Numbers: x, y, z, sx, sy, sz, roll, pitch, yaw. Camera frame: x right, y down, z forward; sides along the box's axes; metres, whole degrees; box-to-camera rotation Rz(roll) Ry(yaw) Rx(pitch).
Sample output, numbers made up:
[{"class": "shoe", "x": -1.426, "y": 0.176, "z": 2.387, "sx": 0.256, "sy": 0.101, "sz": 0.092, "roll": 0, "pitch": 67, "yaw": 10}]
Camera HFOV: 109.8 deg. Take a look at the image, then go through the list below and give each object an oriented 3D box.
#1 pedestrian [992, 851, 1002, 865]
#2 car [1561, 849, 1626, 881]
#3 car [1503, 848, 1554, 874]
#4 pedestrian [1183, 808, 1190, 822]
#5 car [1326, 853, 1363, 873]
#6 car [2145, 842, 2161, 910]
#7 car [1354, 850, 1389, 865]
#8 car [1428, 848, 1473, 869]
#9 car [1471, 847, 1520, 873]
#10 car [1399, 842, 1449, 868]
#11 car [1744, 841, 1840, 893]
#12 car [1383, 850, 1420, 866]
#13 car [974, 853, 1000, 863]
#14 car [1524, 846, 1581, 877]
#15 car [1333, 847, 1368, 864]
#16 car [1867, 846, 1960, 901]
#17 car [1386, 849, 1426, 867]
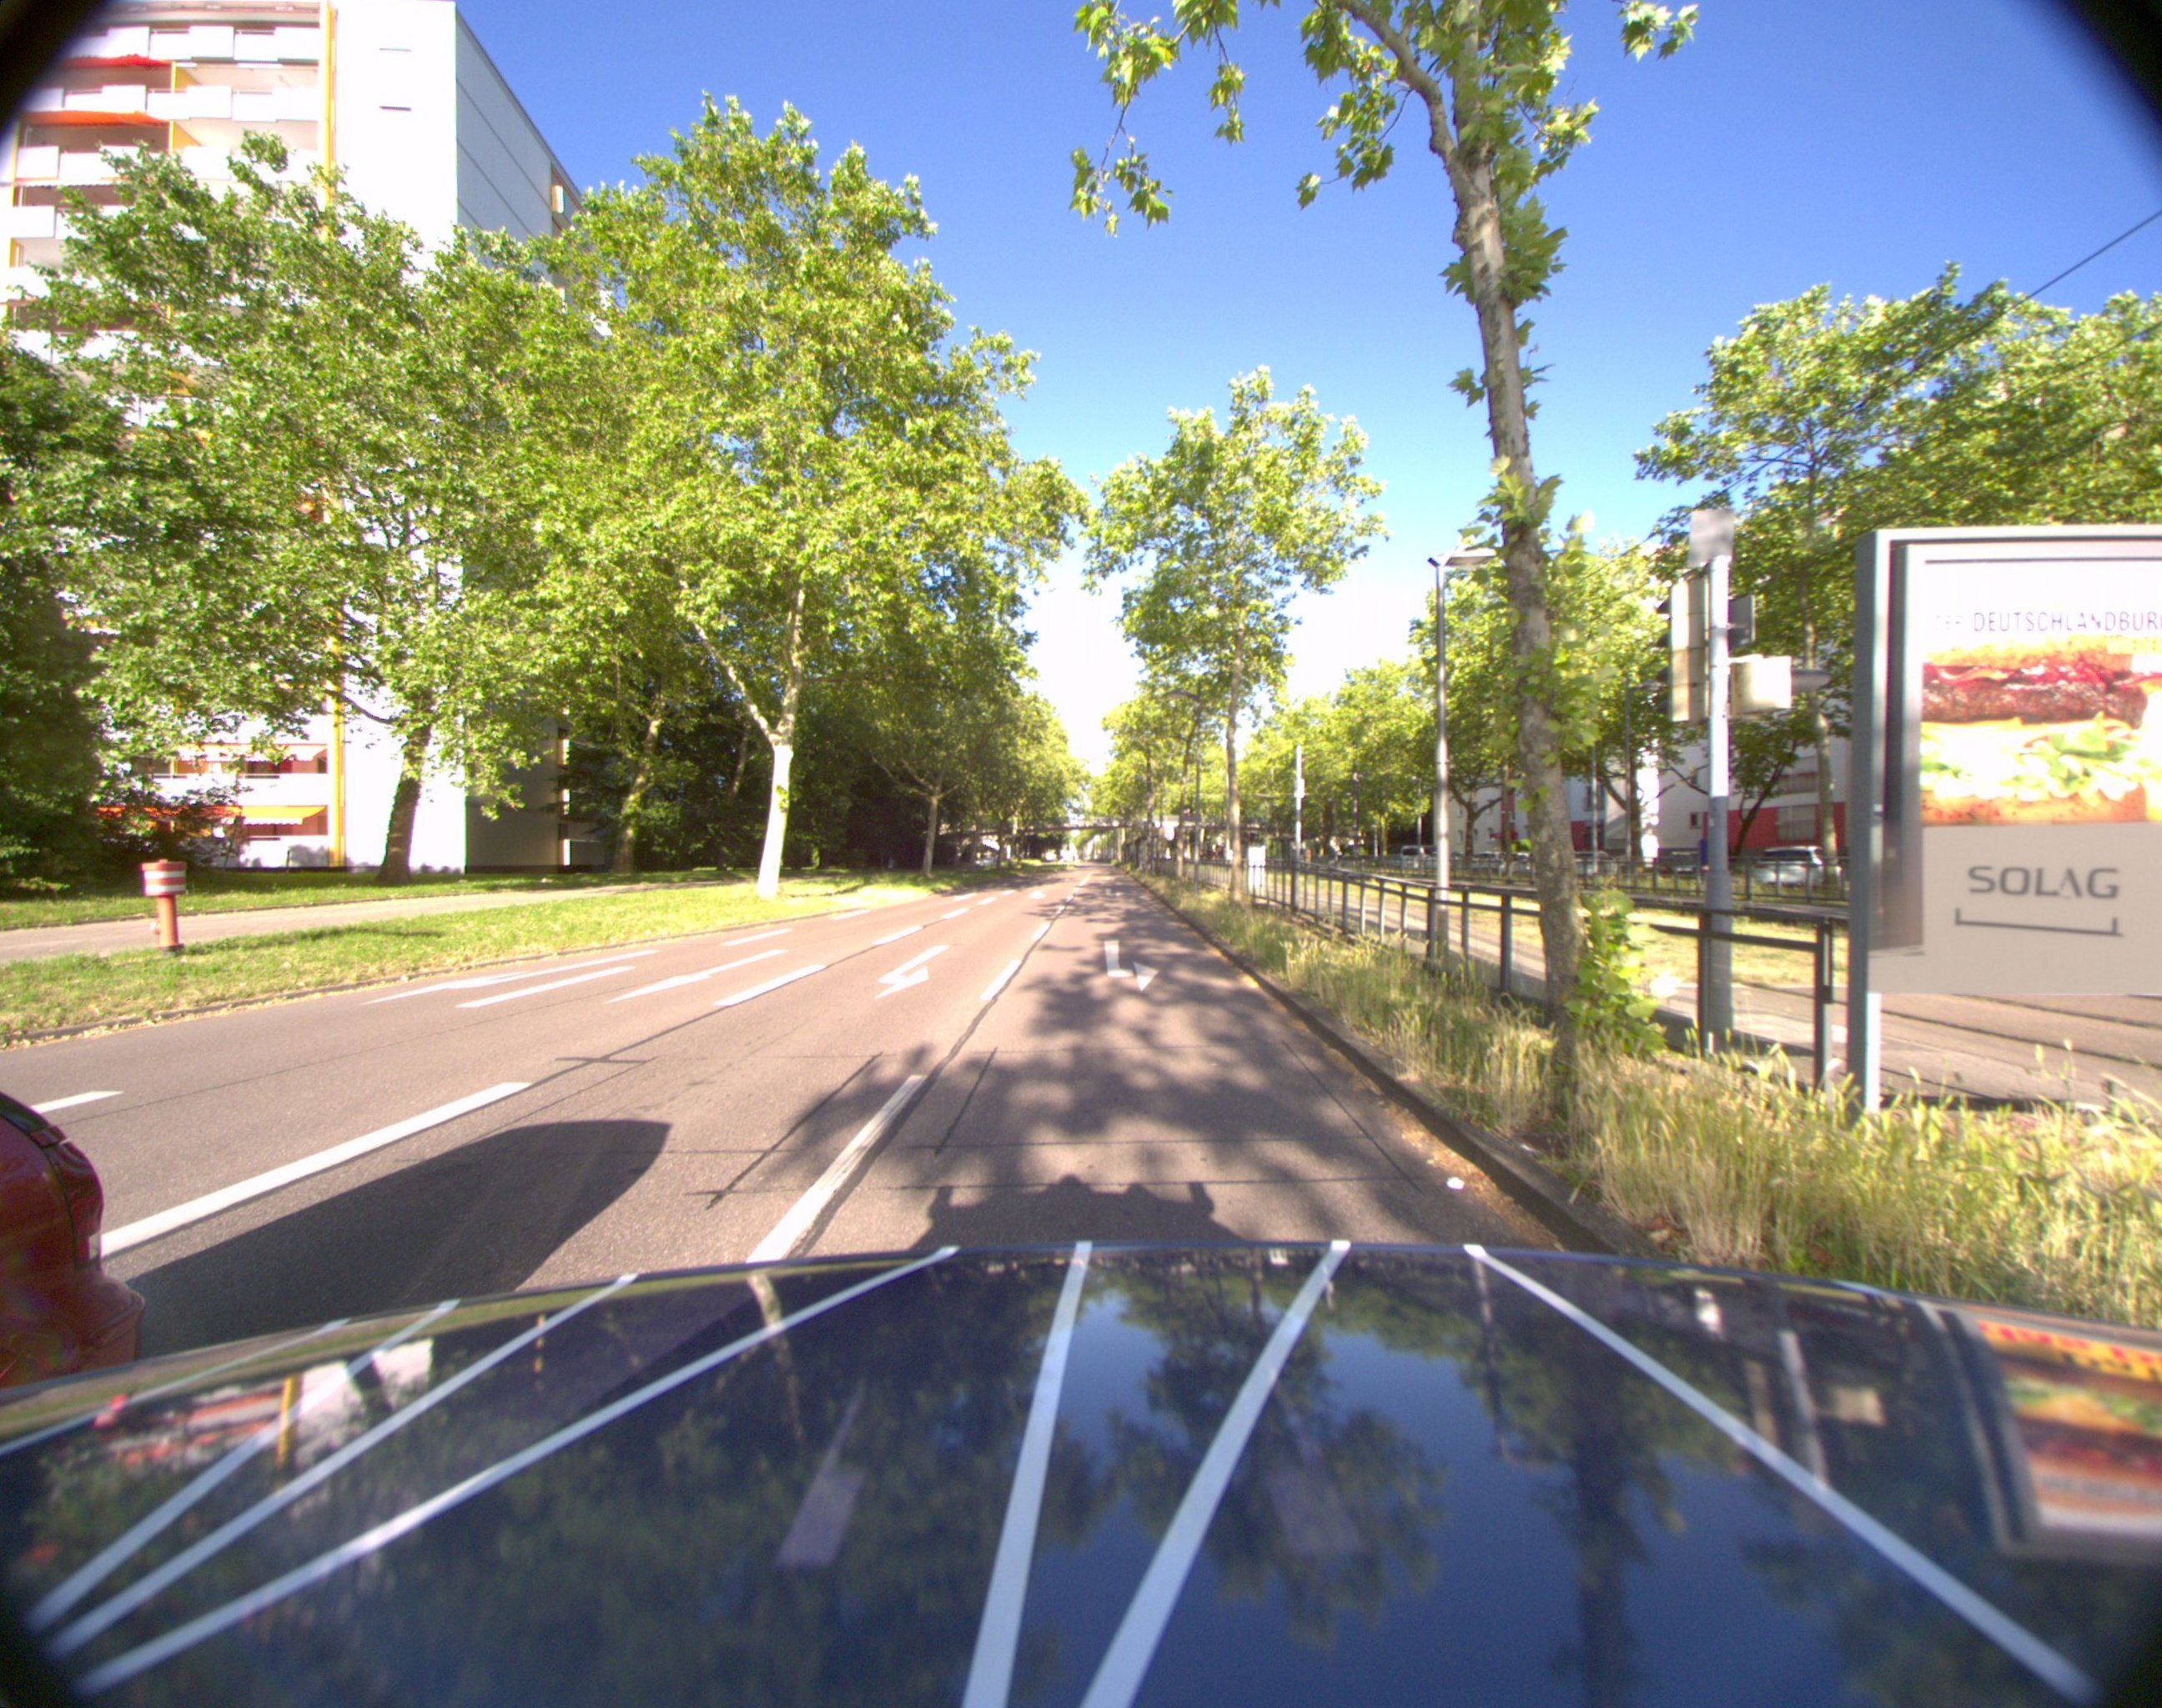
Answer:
[{"class": "pedestrian", "x": -12.275, "y": 0.585, "z": 111.134, "sx": 0.917, "sy": 2.002, "sz": 0.964, "roll": -2, "pitch": 1, "yaw": 37}, {"class": "car", "x": 25.516, "y": 0.527, "z": 37.760, "sx": 3.890, "sy": 1.406, "sz": 1.486, "roll": -3, "pitch": 1, "yaw": -37}, {"class": "car", "x": 26.252, "y": 0.394, "z": 44.563, "sx": 3.493, "sy": 1.321, "sz": 1.476, "roll": -3, "pitch": 0, "yaw": -41}, {"class": "pedestrian", "x": 14.098, "y": -5.192, "z": 101.706, "sx": 0.738, "sy": 1.873, "sz": 0.511, "roll": -3, "pitch": 1, "yaw": 0}, {"class": "car", "x": 21.217, "y": 0.679, "z": 61.362, "sx": 1.810, "sy": 1.514, "sz": 4.332, "roll": -1, "pitch": 0, "yaw": 5}, {"class": "car", "x": 24.557, "y": 0.519, "z": 16.152, "sx": 4.007, "sy": 1.479, "sz": 1.689, "roll": -3, "pitch": 1, "yaw": -44}, {"class": "car", "x": 26.558, "y": 0.287, "z": 69.496, "sx": 3.494, "sy": 1.312, "sz": 1.476, "roll": -1, "pitch": 1, "yaw": -41}, {"class": "car", "x": 26.254, "y": 0.320, "z": 53.930, "sx": 3.494, "sy": 1.395, "sz": 1.623, "roll": -1, "pitch": 1, "yaw": -41}, {"class": "car", "x": 25.859, "y": 0.376, "z": 47.408, "sx": 3.493, "sy": 1.417, "sz": 1.558, "roll": -3, "pitch": -1, "yaw": -42}, {"class": "car", "x": 25.695, "y": 0.062, "z": 56.888, "sx": 4.056, "sy": 1.802, "sz": 1.864, "roll": -1, "pitch": 1, "yaw": -40}, {"class": "car", "x": 25.220, "y": 0.411, "z": 26.921, "sx": 4.007, "sy": 1.586, "sz": 1.810, "roll": -3, "pitch": 1, "yaw": -37}, {"class": "car", "x": 26.990, "y": 0.303, "z": 64.045, "sx": 3.494, "sy": 1.293, "sz": 1.476, "roll": -1, "pitch": 1, "yaw": -41}, {"class": "car", "x": -14.966, "y": 0.677, "z": 121.450, "sx": 3.999, "sy": 1.465, "sz": 1.797, "roll": -3, "pitch": 1, "yaw": -8}, {"class": "car", "x": 25.703, "y": 0.410, "z": 41.393, "sx": 3.402, "sy": 1.499, "sz": 1.461, "roll": -3, "pitch": 1, "yaw": -37}, {"class": "car", "x": 25.957, "y": 0.155, "z": 73.173, "sx": 3.835, "sy": 1.561, "sz": 1.597, "roll": -1, "pitch": 1, "yaw": -43}, {"class": "car", "x": 25.235, "y": 0.548, "z": 22.993, "sx": 3.770, "sy": 1.420, "sz": 1.555, "roll": -3, "pitch": 1, "yaw": -37}, {"class": "car", "x": 25.802, "y": 0.291, "z": 60.294, "sx": 3.494, "sy": 1.336, "sz": 1.476, "roll": -1, "pitch": 1, "yaw": -41}]
